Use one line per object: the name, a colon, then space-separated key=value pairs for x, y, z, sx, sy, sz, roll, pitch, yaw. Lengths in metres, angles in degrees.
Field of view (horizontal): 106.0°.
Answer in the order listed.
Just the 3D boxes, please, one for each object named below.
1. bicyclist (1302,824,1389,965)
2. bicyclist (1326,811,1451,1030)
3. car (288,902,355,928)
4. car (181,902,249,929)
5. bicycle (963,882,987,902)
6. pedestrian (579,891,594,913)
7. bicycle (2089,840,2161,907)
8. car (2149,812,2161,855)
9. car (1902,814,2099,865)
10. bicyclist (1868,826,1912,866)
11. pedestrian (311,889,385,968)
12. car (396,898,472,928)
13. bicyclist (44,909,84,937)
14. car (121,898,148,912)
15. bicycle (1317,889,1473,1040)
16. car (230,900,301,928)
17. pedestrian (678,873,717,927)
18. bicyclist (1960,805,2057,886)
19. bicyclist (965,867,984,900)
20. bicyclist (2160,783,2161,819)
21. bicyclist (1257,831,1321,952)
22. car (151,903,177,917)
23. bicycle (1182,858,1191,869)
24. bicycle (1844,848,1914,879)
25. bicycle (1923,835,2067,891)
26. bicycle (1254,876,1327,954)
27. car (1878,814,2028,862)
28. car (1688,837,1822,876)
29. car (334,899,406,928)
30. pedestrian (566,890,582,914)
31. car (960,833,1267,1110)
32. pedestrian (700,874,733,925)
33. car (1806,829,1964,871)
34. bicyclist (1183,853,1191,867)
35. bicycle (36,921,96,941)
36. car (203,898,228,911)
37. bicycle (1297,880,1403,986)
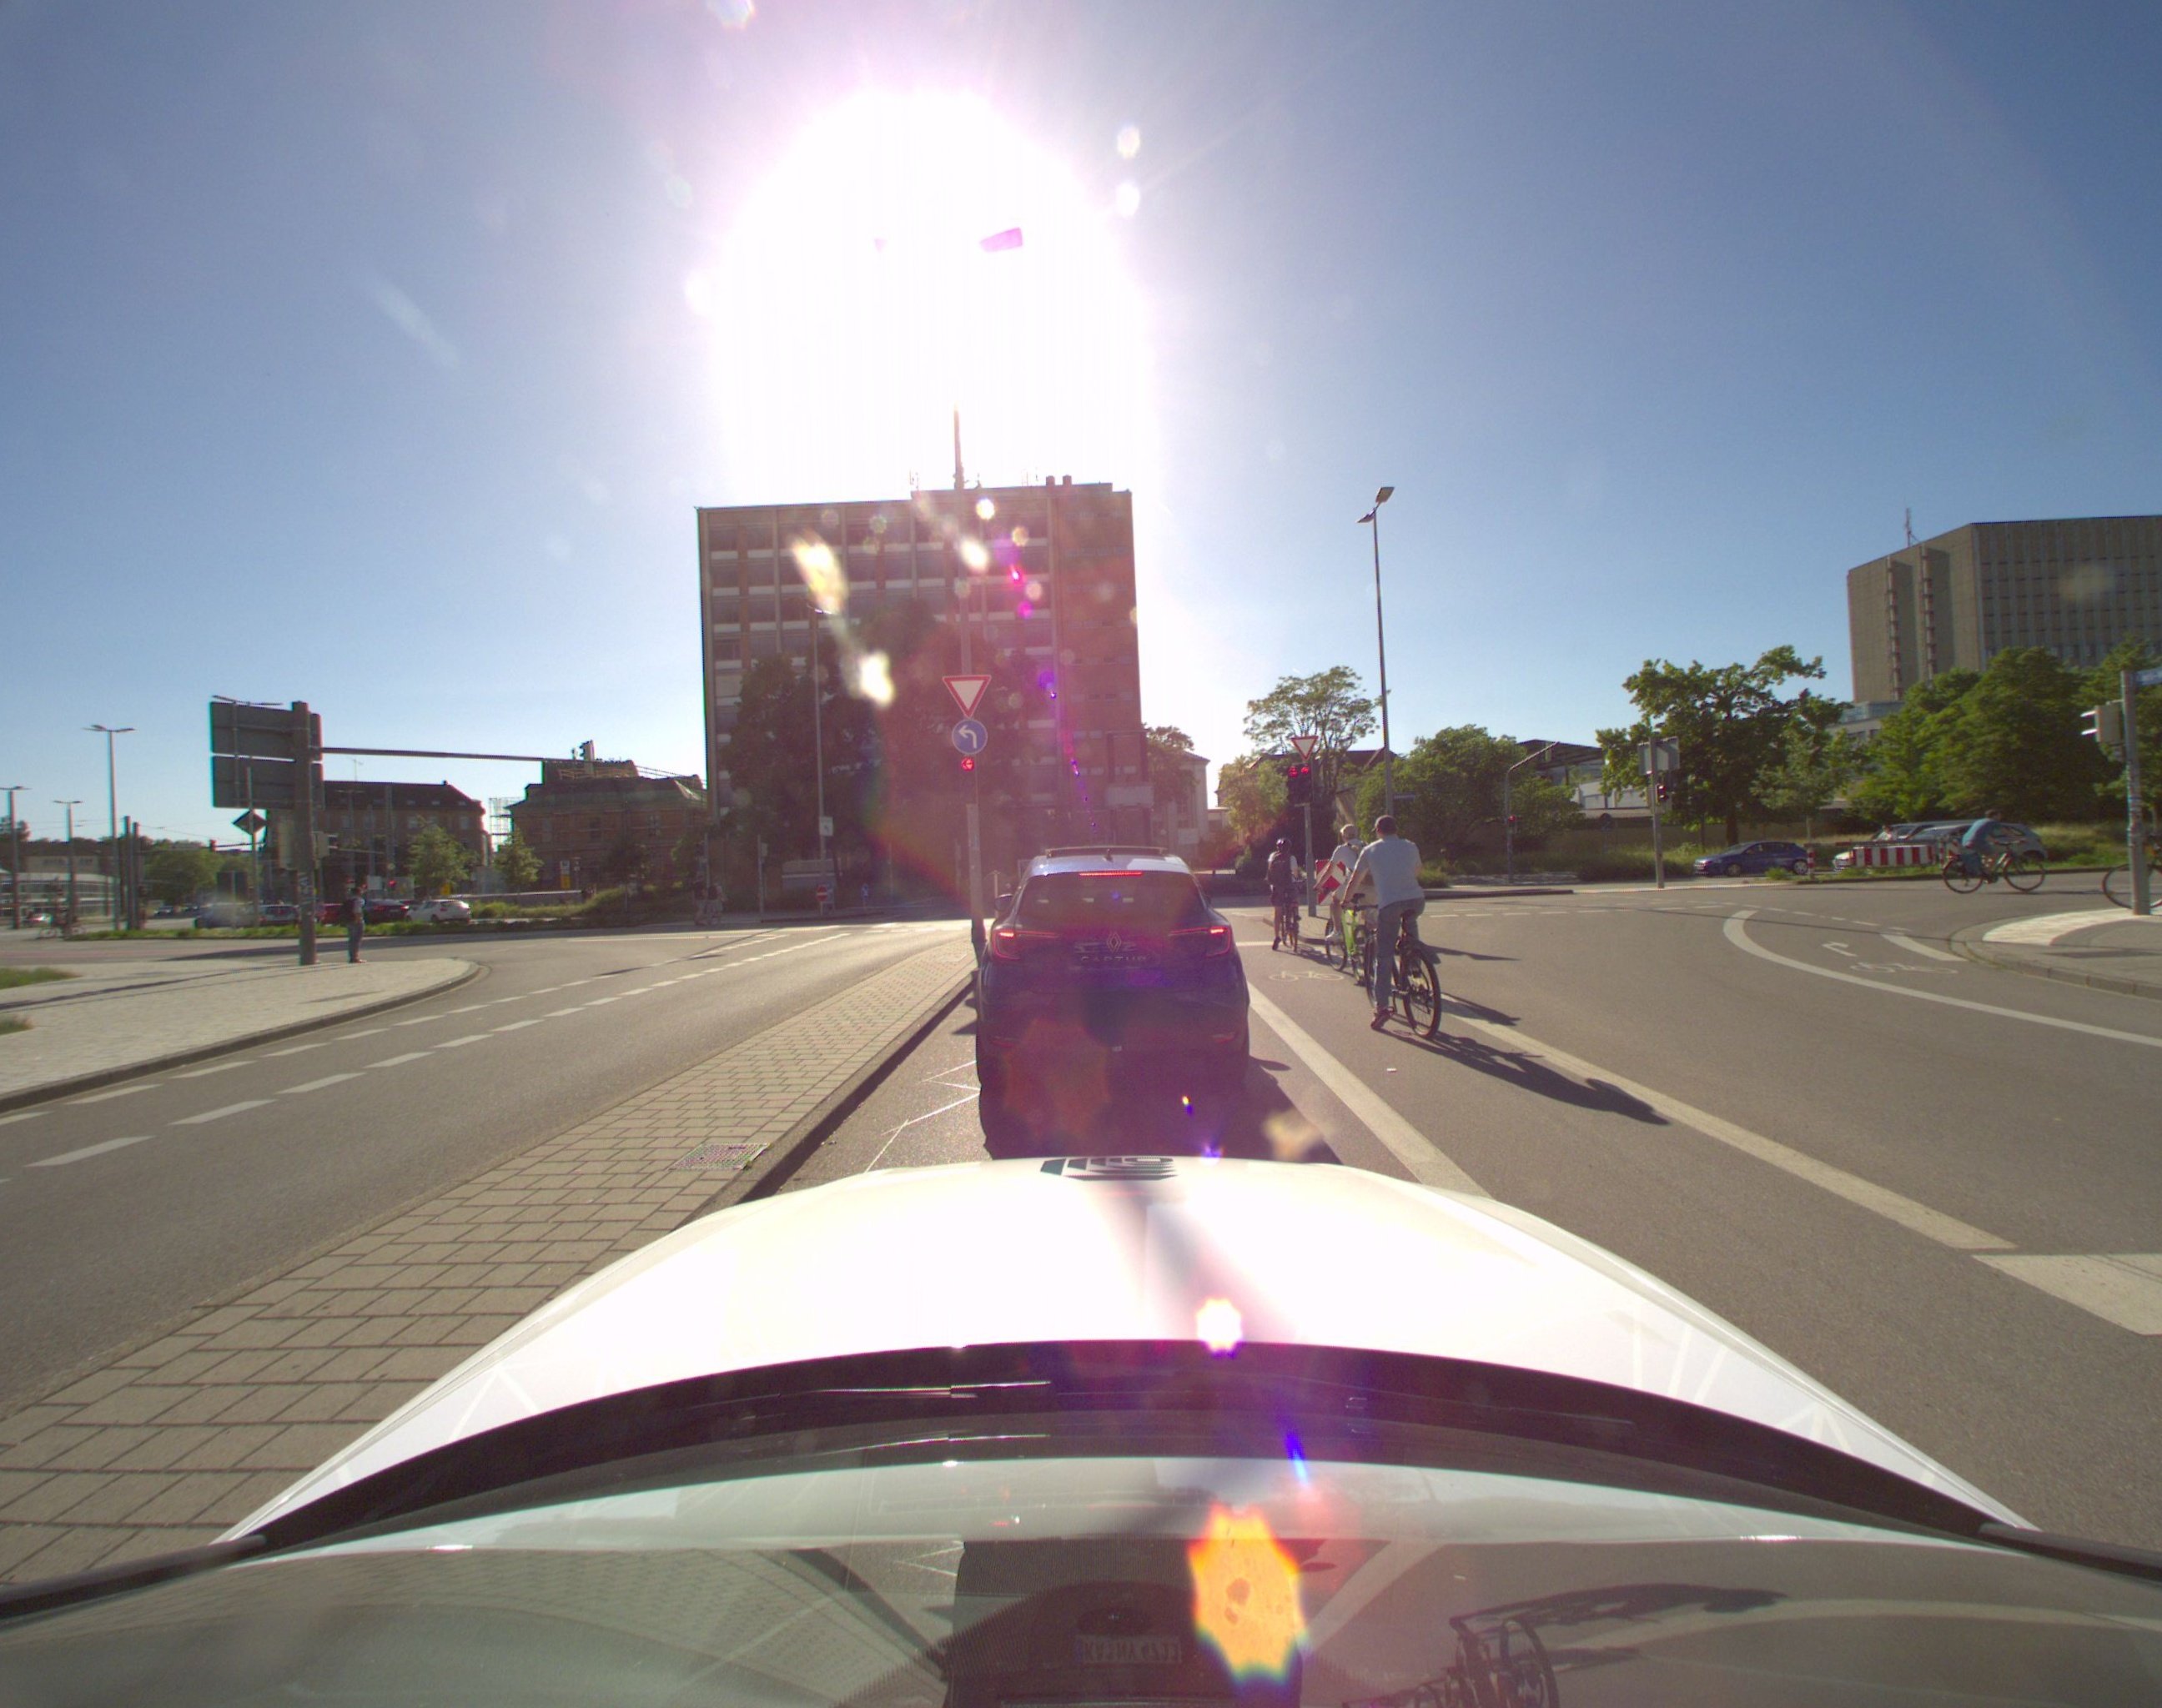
bicyclist: x=3.172 y=0.462 z=9.853 sx=0.676 sy=1.594 sz=1.142 roll=-1 pitch=-1 yaw=2
bicyclist: x=2.711 y=0.553 z=7.306 sx=0.680 sy=1.791 sz=1.142 roll=-1 pitch=-1 yaw=2
car: x=-48.212 y=3.868 z=51.709 sx=3.834 sy=1.508 sz=1.805 roll=-3 pitch=-1 yaw=25
car: x=-54.918 y=3.890 z=51.636 sx=3.834 sy=1.508 sz=1.805 roll=-3 pitch=-1 yaw=25
bicycle: x=-5.732 y=2.043 z=44.172 sx=0.751 sy=0.985 sz=2.098 roll=-2 pitch=0 yaw=8
pedestrian: x=-39.522 y=3.834 z=65.092 sx=0.678 sy=1.730 sz=0.761 roll=-2 pitch=-1 yaw=-1
bicycle: x=15.911 y=0.267 z=11.628 sx=0.640 sy=0.958 sz=1.866 roll=-2 pitch=-1 yaw=-39
car: x=36.897 y=-0.763 z=25.333 sx=4.534 sy=1.398 sz=1.798 roll=-3 pitch=-1 yaw=7
car: x=29.217 y=-0.434 z=26.003 sx=3.965 sy=1.398 sz=1.798 roll=-3 pitch=-1 yaw=7
bicyclist: x=28.316 y=-0.289 z=28.507 sx=0.870 sy=1.343 sz=0.612 roll=-2 pitch=-1 yaw=7
pedestrian: x=-17.239 y=1.735 z=19.171 sx=0.647 sy=1.730 sz=1.066 roll=-3 pitch=-1 yaw=15
car: x=-36.399 y=3.335 z=45.835 sx=3.834 sy=1.508 sz=1.805 roll=-3 pitch=-1 yaw=25
bicyclist: x=-65.724 y=4.437 z=52.641 sx=0.800 sy=1.634 sz=1.586 roll=-1 pitch=-1 yaw=40
car: x=-153.024 y=8.289 z=131.705 sx=2.008 sy=2.014 sz=3.956 roll=0 pitch=-1 yaw=-35
bicycle: x=2.716 y=0.898 z=7.285 sx=0.687 sy=1.089 sz=1.923 roll=-1 pitch=0 yaw=2
car: x=-48.869 y=3.603 z=48.804 sx=3.834 sy=1.508 sz=1.805 roll=-3 pitch=-1 yaw=25
pedestrian: x=-13.769 y=1.650 z=29.244 sx=0.807 sy=1.862 sz=0.913 roll=-3 pitch=-1 yaw=15
bicyclist: x=18.425 y=-0.160 z=16.197 sx=1.045 sy=1.513 sz=0.643 roll=-4 pitch=-1 yaw=9
bicyclist: x=-5.765 y=1.608 z=44.072 sx=0.751 sy=1.716 sz=1.001 roll=-2 pitch=-1 yaw=7
bicyclist: x=16.023 y=-0.226 z=11.474 sx=0.635 sy=1.646 sz=0.903 roll=-2 pitch=-1 yaw=-39
bicyclist: x=3.218 y=0.558 z=12.695 sx=0.697 sy=1.791 sz=1.142 roll=-1 pitch=-1 yaw=2
car: x=-146.608 y=8.986 z=130.258 sx=2.010 sy=2.013 sz=3.954 roll=-2 pitch=-1 yaw=-38
bicycle: x=11.523 y=1.073 z=88.671 sx=0.692 sy=1.140 sz=2.441 roll=-2 pitch=0 yaw=1
bicycle: x=27.955 y=0.335 z=28.546 sx=1.673 sy=1.033 sz=0.612 roll=-2 pitch=-1 yaw=7
bicycle: x=18.178 y=0.185 z=16.235 sx=1.887 sy=0.973 sz=0.651 roll=-4 pitch=-1 yaw=9
bicycle: x=3.258 y=0.913 z=12.854 sx=0.687 sy=1.089 sz=1.923 roll=-1 pitch=0 yaw=2
car: x=35.867 y=-0.618 z=33.609 sx=3.965 sy=1.749 sz=1.798 roll=-2 pitch=-1 yaw=7
car: x=28.131 y=0.105 z=34.109 sx=3.965 sy=1.398 sz=1.798 roll=-3 pitch=-1 yaw=7
car: x=-42.524 y=3.561 z=48.725 sx=3.834 sy=1.508 sz=1.805 roll=-3 pitch=-1 yaw=25
pedestrian: x=-38.385 y=3.625 z=61.647 sx=0.680 sy=1.730 sz=0.759 roll=-2 pitch=-1 yaw=-7
car: x=0.194 y=0.704 z=6.767 sx=1.783 sy=1.585 sz=3.913 roll=-1 pitch=0 yaw=0
pedestrian: x=-12.925 y=1.602 z=28.856 sx=0.675 sy=1.730 sz=0.764 roll=-3 pitch=-1 yaw=15
car: x=30.292 y=-0.136 z=30.795 sx=3.965 sy=1.398 sz=1.798 roll=-3 pitch=-1 yaw=7
bicyclist: x=11.504 y=0.690 z=88.512 sx=0.692 sy=1.481 sz=0.718 roll=-2 pitch=-1 yaw=2
bicycle: x=-65.644 y=4.962 z=52.707 sx=0.800 sy=1.062 sz=2.434 roll=-1 pitch=-1 yaw=40
car: x=-148.408 y=8.639 z=139.649 sx=1.797 sy=2.013 sz=3.963 roll=-2 pitch=-1 yaw=-29
bicycle: x=3.184 y=0.889 z=9.831 sx=0.687 sy=1.089 sz=1.923 roll=-1 pitch=0 yaw=2
